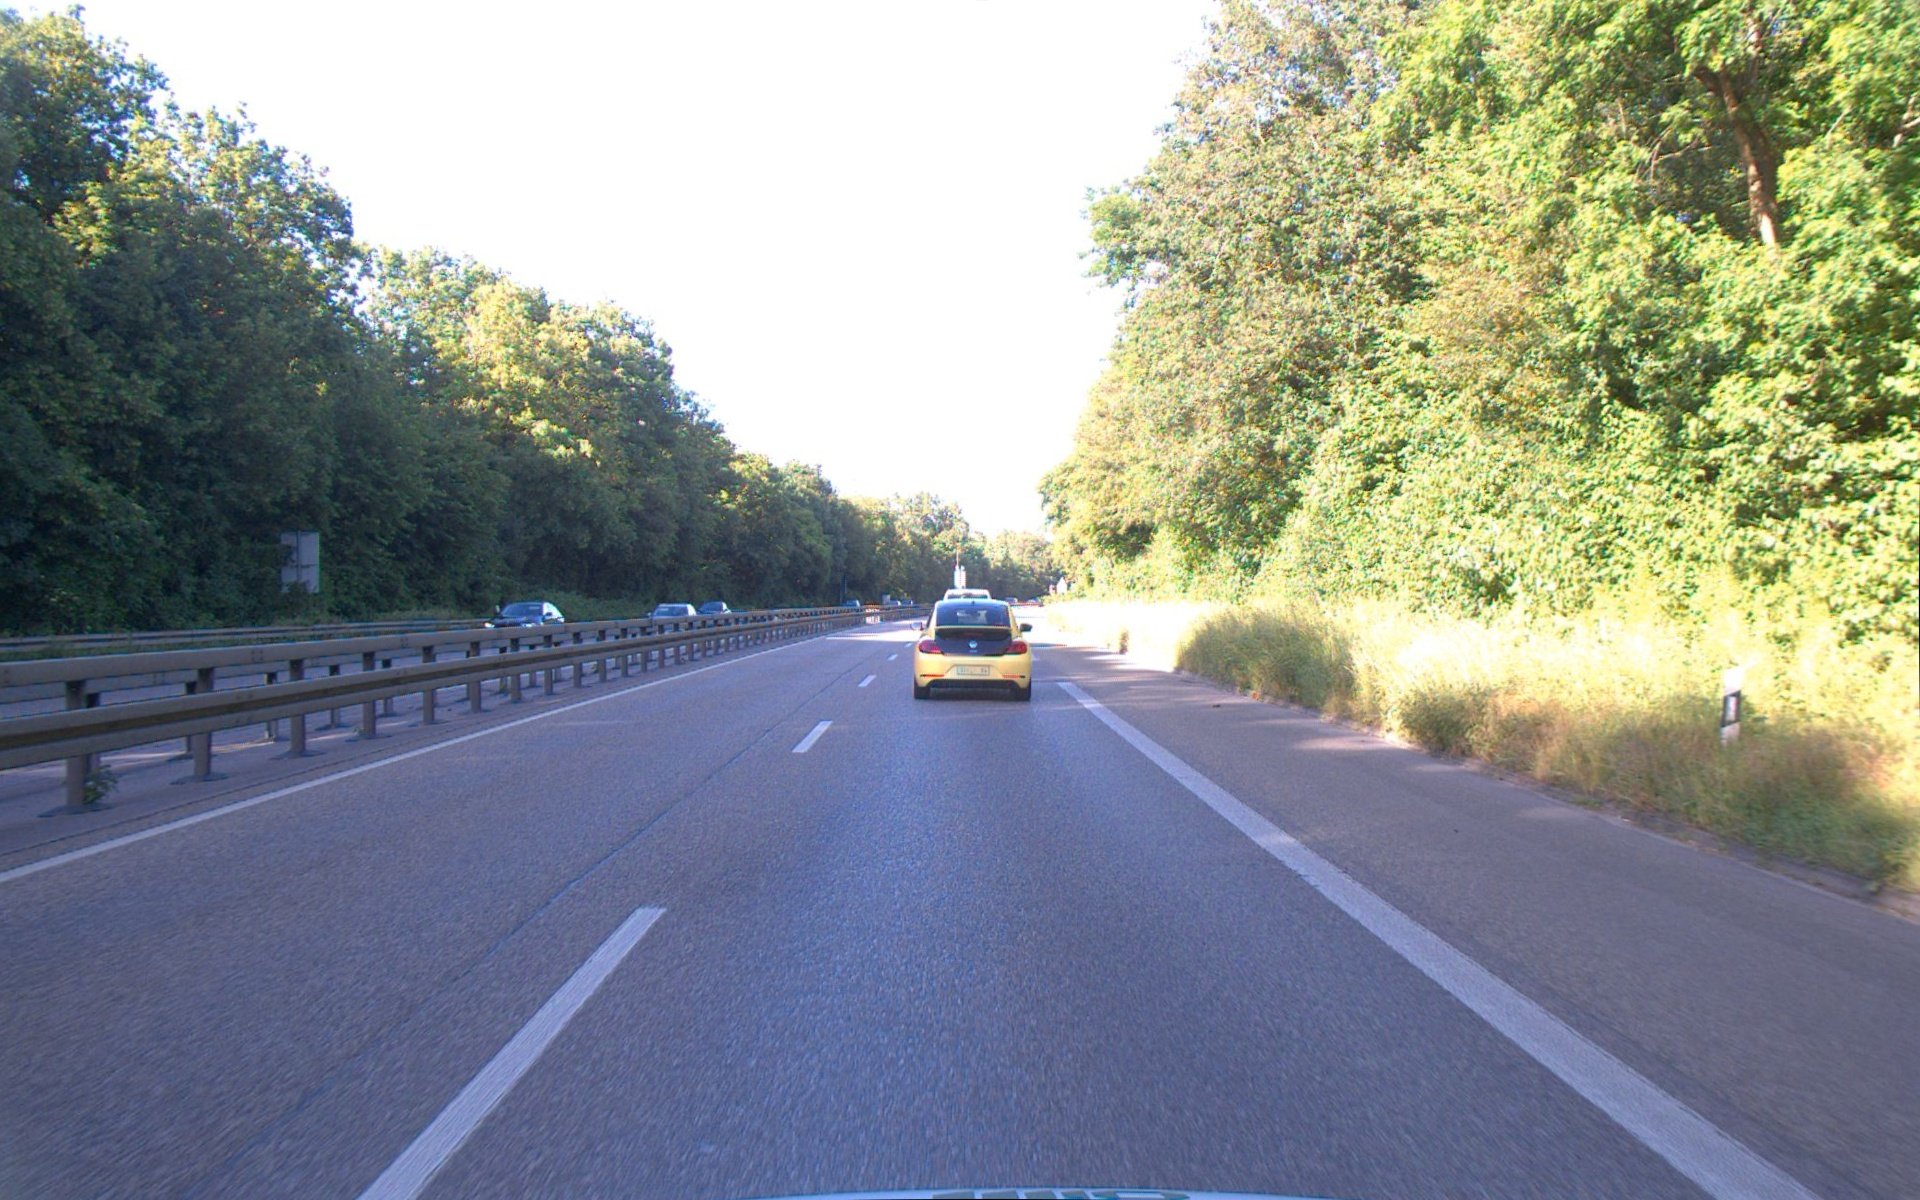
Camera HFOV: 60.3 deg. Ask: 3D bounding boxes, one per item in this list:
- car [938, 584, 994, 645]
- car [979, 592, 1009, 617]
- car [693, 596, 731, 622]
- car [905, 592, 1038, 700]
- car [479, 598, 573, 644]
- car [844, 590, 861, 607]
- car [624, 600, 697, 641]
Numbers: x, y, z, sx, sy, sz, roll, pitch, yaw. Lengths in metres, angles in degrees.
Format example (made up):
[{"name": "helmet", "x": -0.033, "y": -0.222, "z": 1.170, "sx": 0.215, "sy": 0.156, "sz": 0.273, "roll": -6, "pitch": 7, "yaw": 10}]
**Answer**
[{"name": "car", "x": 0.230, "y": 0.454, "z": 52.752, "sx": 1.705, "sy": 1.862, "sz": 3.423, "roll": 1, "pitch": 0, "yaw": 1}, {"name": "car", "x": 2.649, "y": 0.348, "z": 129.086, "sx": 2.217, "sy": 1.908, "sz": 5.076, "roll": -1, "pitch": 0, "yaw": 1}, {"name": "car", "x": -14.070, "y": 0.485, "z": 94.062, "sx": 1.573, "sy": 1.448, "sz": 4.000, "roll": 0, "pitch": 0, "yaw": 0}, {"name": "car", "x": 0.240, "y": 0.654, "z": 25.479, "sx": 1.899, "sy": 1.534, "sz": 3.423, "roll": 0, "pitch": 0, "yaw": 2}, {"name": "car", "x": -15.283, "y": 0.698, "z": 58.543, "sx": 1.953, "sy": 1.489, "sz": 4.902, "roll": -2, "pitch": 0, "yaw": 0}, {"name": "car", "x": -10.750, "y": -0.131, "z": 165.623, "sx": 1.384, "sy": 1.648, "sz": 2.875, "roll": -1, "pitch": 0, "yaw": 1}, {"name": "car", "x": -11.930, "y": 0.780, "z": 66.146, "sx": 1.953, "sy": 1.489, "sz": 4.740, "roll": -2, "pitch": 0, "yaw": 0}]
